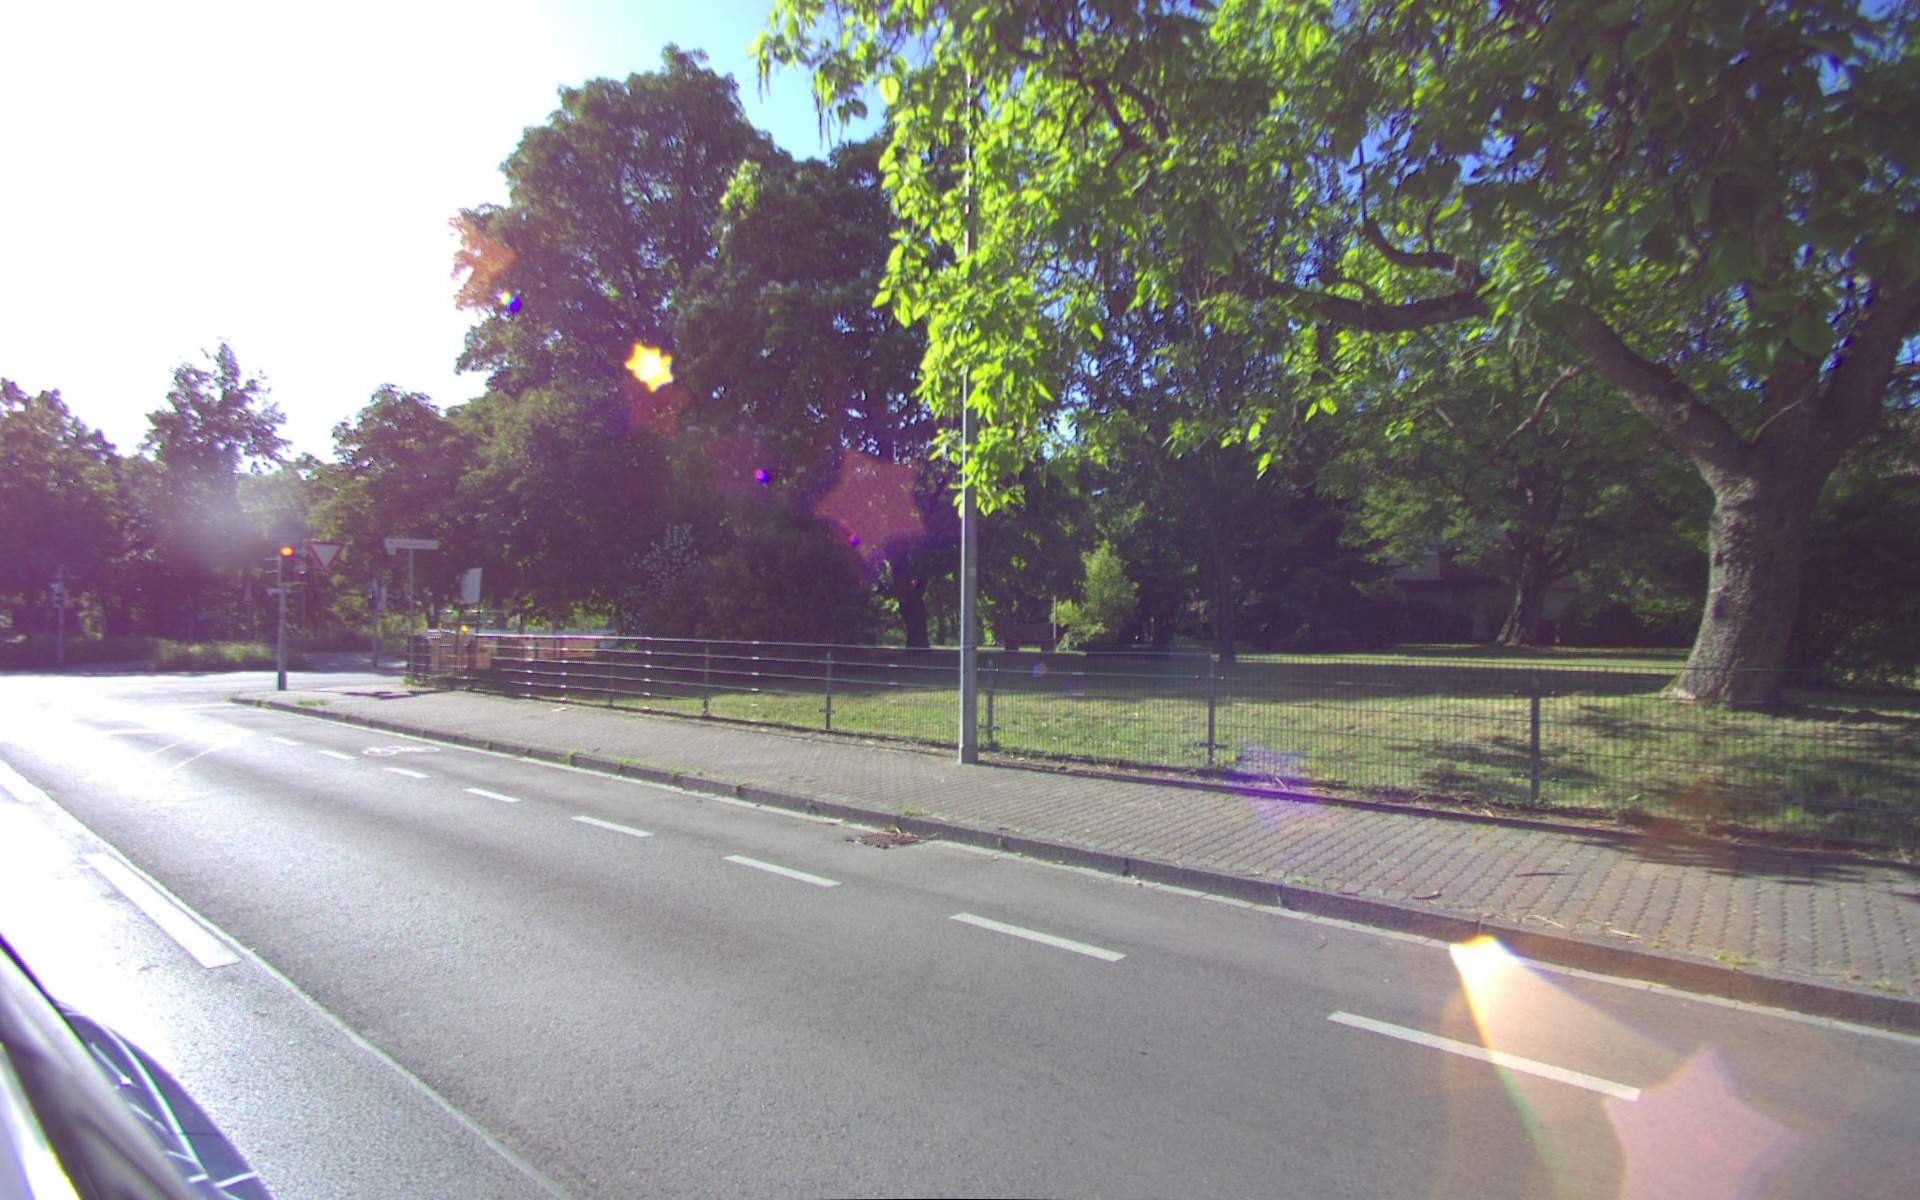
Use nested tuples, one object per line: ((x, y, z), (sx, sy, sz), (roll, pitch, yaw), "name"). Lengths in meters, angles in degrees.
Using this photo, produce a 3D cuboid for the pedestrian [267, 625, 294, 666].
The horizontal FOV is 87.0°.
((-27.950, 1.861, 41.629), (0.647, 1.646, 0.790), (-2, -2, 41), "pedestrian")
